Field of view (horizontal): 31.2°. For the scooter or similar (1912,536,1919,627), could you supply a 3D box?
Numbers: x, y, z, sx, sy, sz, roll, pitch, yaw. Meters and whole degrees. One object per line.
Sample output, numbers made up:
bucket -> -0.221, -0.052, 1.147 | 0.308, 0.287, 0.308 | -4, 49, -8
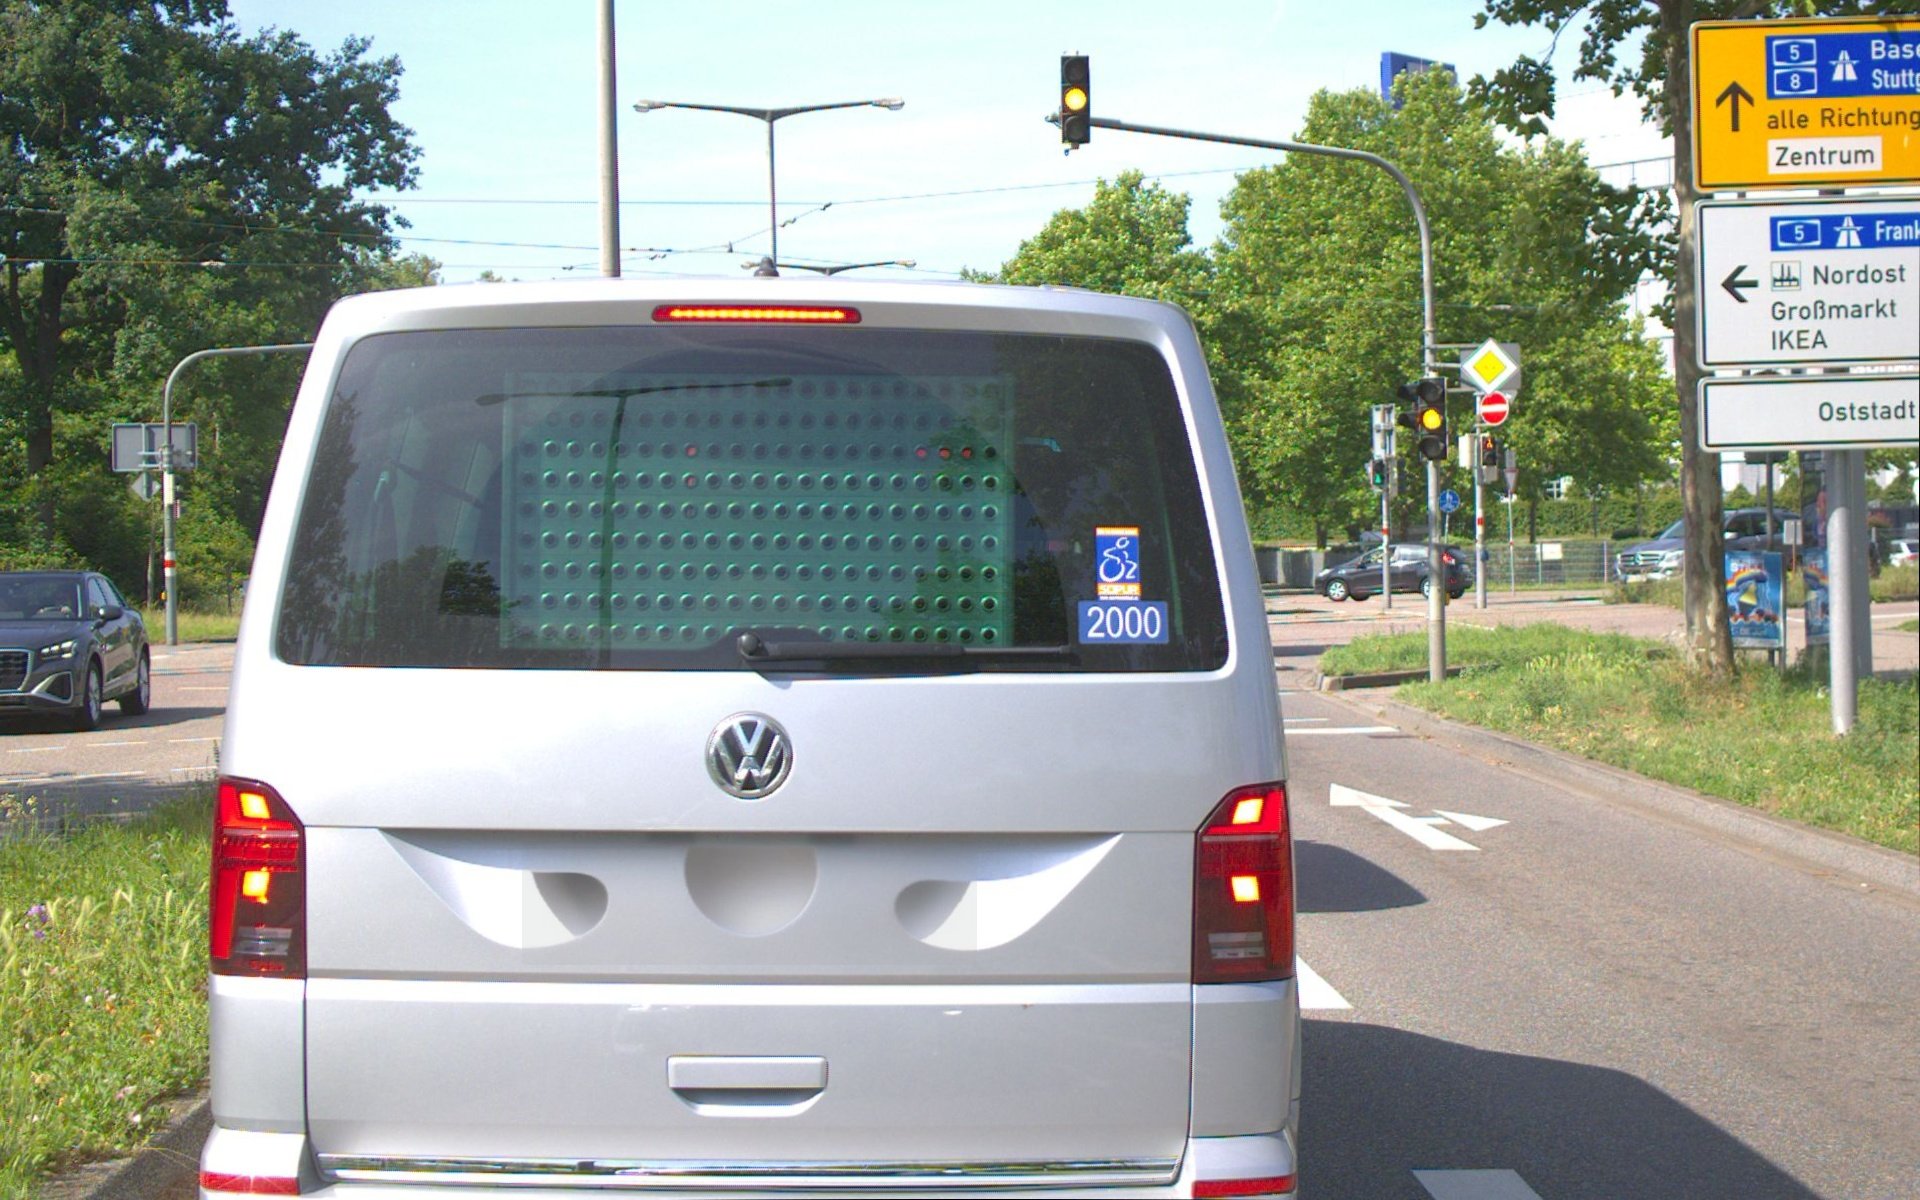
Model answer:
scooter or similar -> 12.130, -0.225, 42.403 | 0.424, 1.122, 1.124 | -1, 1, -1

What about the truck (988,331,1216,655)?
truck -> 1.795, -1.392, 46.960 | 2.552, 3.943, 8.975 | -1, 1, -1

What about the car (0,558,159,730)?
car -> -8.992, 0.400, 33.152 | 1.863, 1.462, 3.939 | -3, 2, -5

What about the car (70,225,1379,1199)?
car -> -0.375, 0.392, 7.653 | 1.941, 1.965, 5.022 | -1, 1, -1

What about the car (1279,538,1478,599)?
car -> 10.496, -0.790, 86.349 | 4.619, 1.439, 1.779 | -1, 1, 29

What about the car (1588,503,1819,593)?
car -> 14.867, -1.048, 68.682 | 4.613, 1.683, 1.915 | -2, 1, -37
